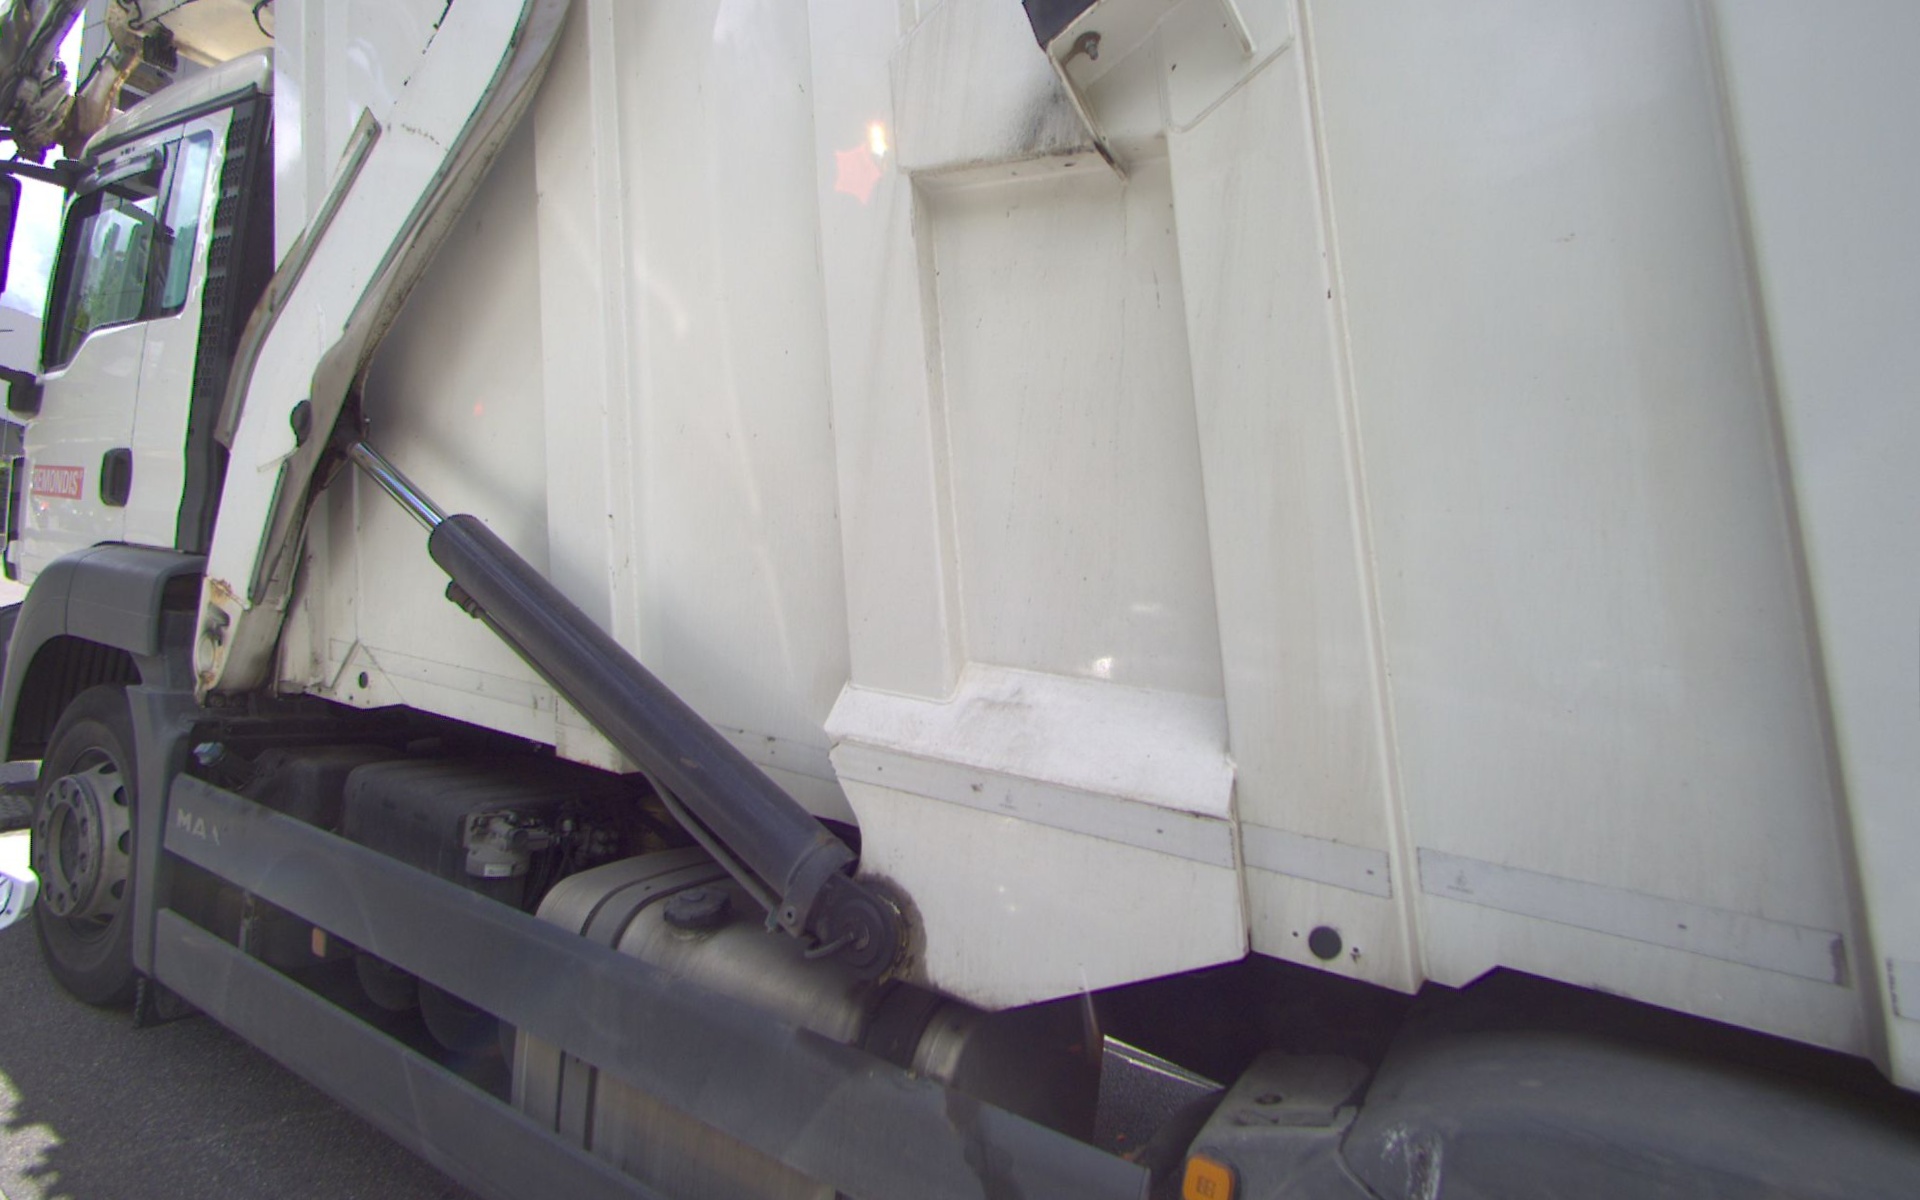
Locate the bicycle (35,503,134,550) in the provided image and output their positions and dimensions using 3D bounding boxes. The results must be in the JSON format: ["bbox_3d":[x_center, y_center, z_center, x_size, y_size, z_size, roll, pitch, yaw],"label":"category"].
[{"bbox_3d":[-27.094,-2.259,31.168,2.166,1.099,0.474,8,-1,-23],"label":"bicycle"}]

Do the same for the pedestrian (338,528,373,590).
[{"bbox_3d":[-18.699,-1.273,31.122,0.707,1.818,0.635,3,4,-45],"label":"pedestrian"}]

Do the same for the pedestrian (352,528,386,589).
[{"bbox_3d":[-18.805,-1.324,31.992,0.707,1.818,0.685,4,4,-43],"label":"pedestrian"}]

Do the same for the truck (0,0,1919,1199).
[{"bbox_3d":[1.087,-0.289,2.203,10.003,3.958,2.494,6,-1,31],"label":"truck"}]

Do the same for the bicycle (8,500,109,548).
[{"bbox_3d":[-27.999,-2.338,31.270,2.197,1.099,0.474,8,-1,-23],"label":"bicycle"}]

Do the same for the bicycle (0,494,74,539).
[{"bbox_3d":[-29.295,-2.641,31.488,2.197,1.099,0.474,8,-1,-23],"label":"bicycle"}]
